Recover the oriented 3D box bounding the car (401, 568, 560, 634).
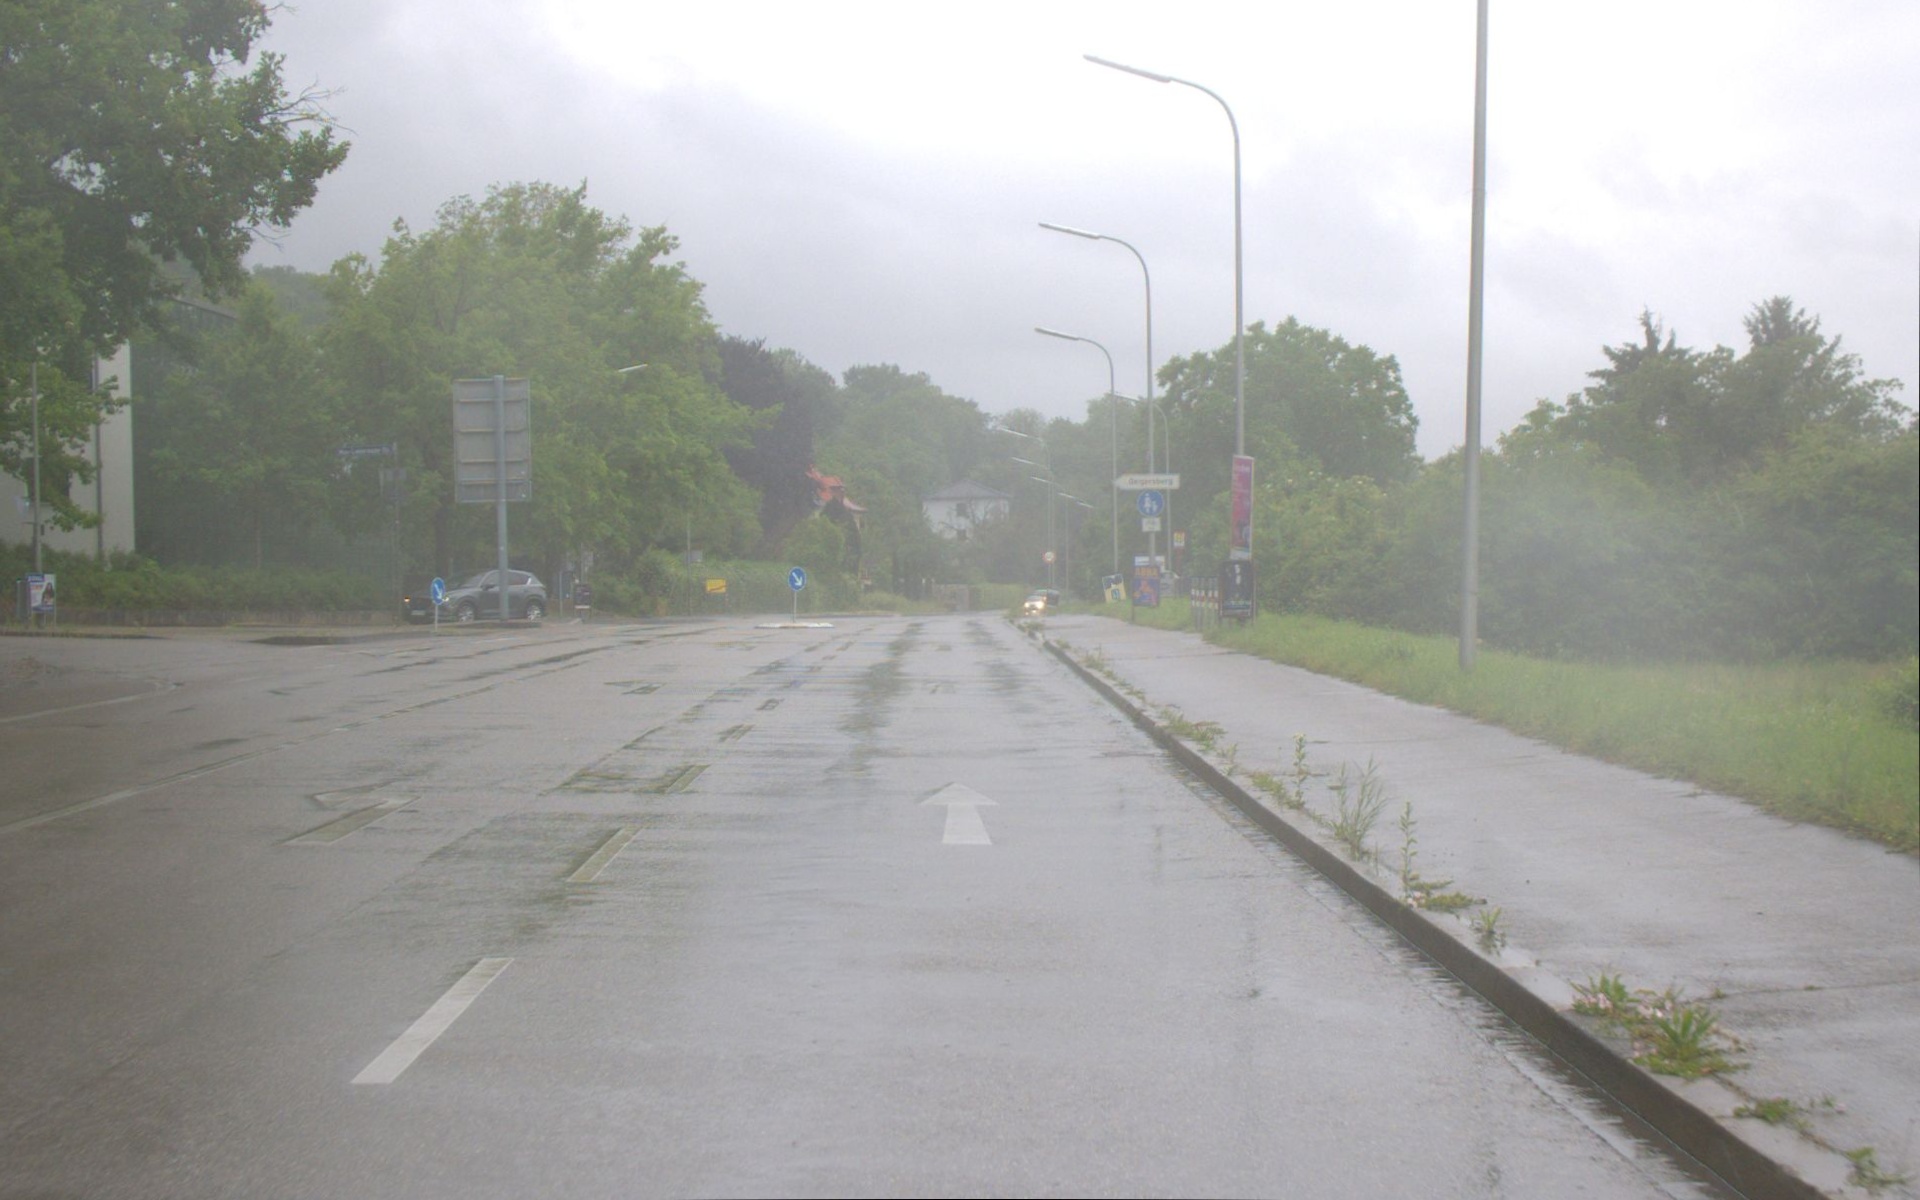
[{"bbox_3d":[-13.197,0.014,94.729,3.988,1.756,1.799,0,1,-38],"label":"car"}]
